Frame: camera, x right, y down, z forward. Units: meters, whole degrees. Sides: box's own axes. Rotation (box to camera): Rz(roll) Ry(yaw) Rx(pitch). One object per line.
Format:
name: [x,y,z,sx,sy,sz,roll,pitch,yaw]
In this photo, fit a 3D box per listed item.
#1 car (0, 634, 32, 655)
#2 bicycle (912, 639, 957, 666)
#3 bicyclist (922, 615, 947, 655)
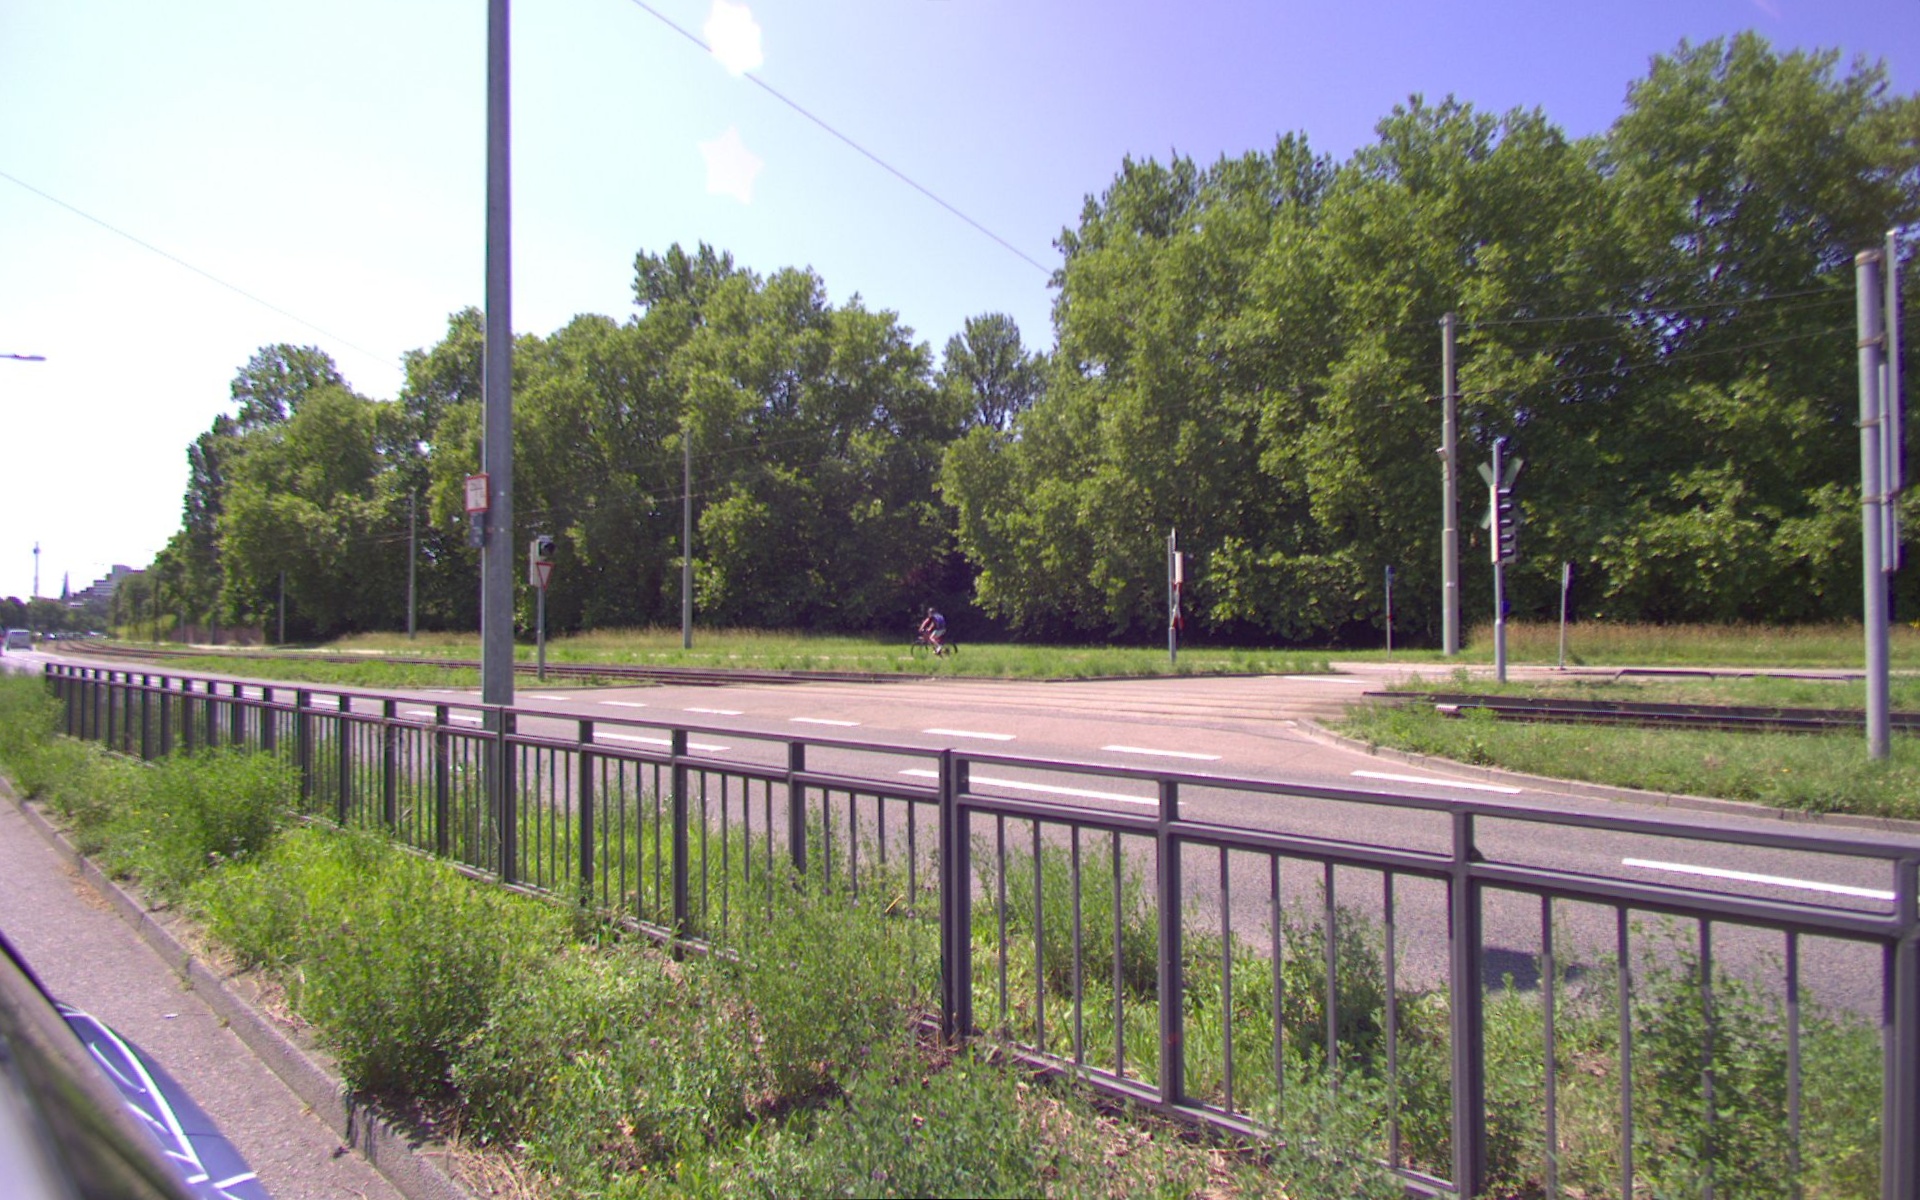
car: [-93.646,4.434,100.234,5.028,2.029,1.972,-3,-4,41]
bicycle: [-0.874,1.791,34.679,1.562,0.908,0.503,-2,-2,35]
bicyclist: [-0.869,1.189,34.627,0.679,1.346,0.503,-2,-2,35]
